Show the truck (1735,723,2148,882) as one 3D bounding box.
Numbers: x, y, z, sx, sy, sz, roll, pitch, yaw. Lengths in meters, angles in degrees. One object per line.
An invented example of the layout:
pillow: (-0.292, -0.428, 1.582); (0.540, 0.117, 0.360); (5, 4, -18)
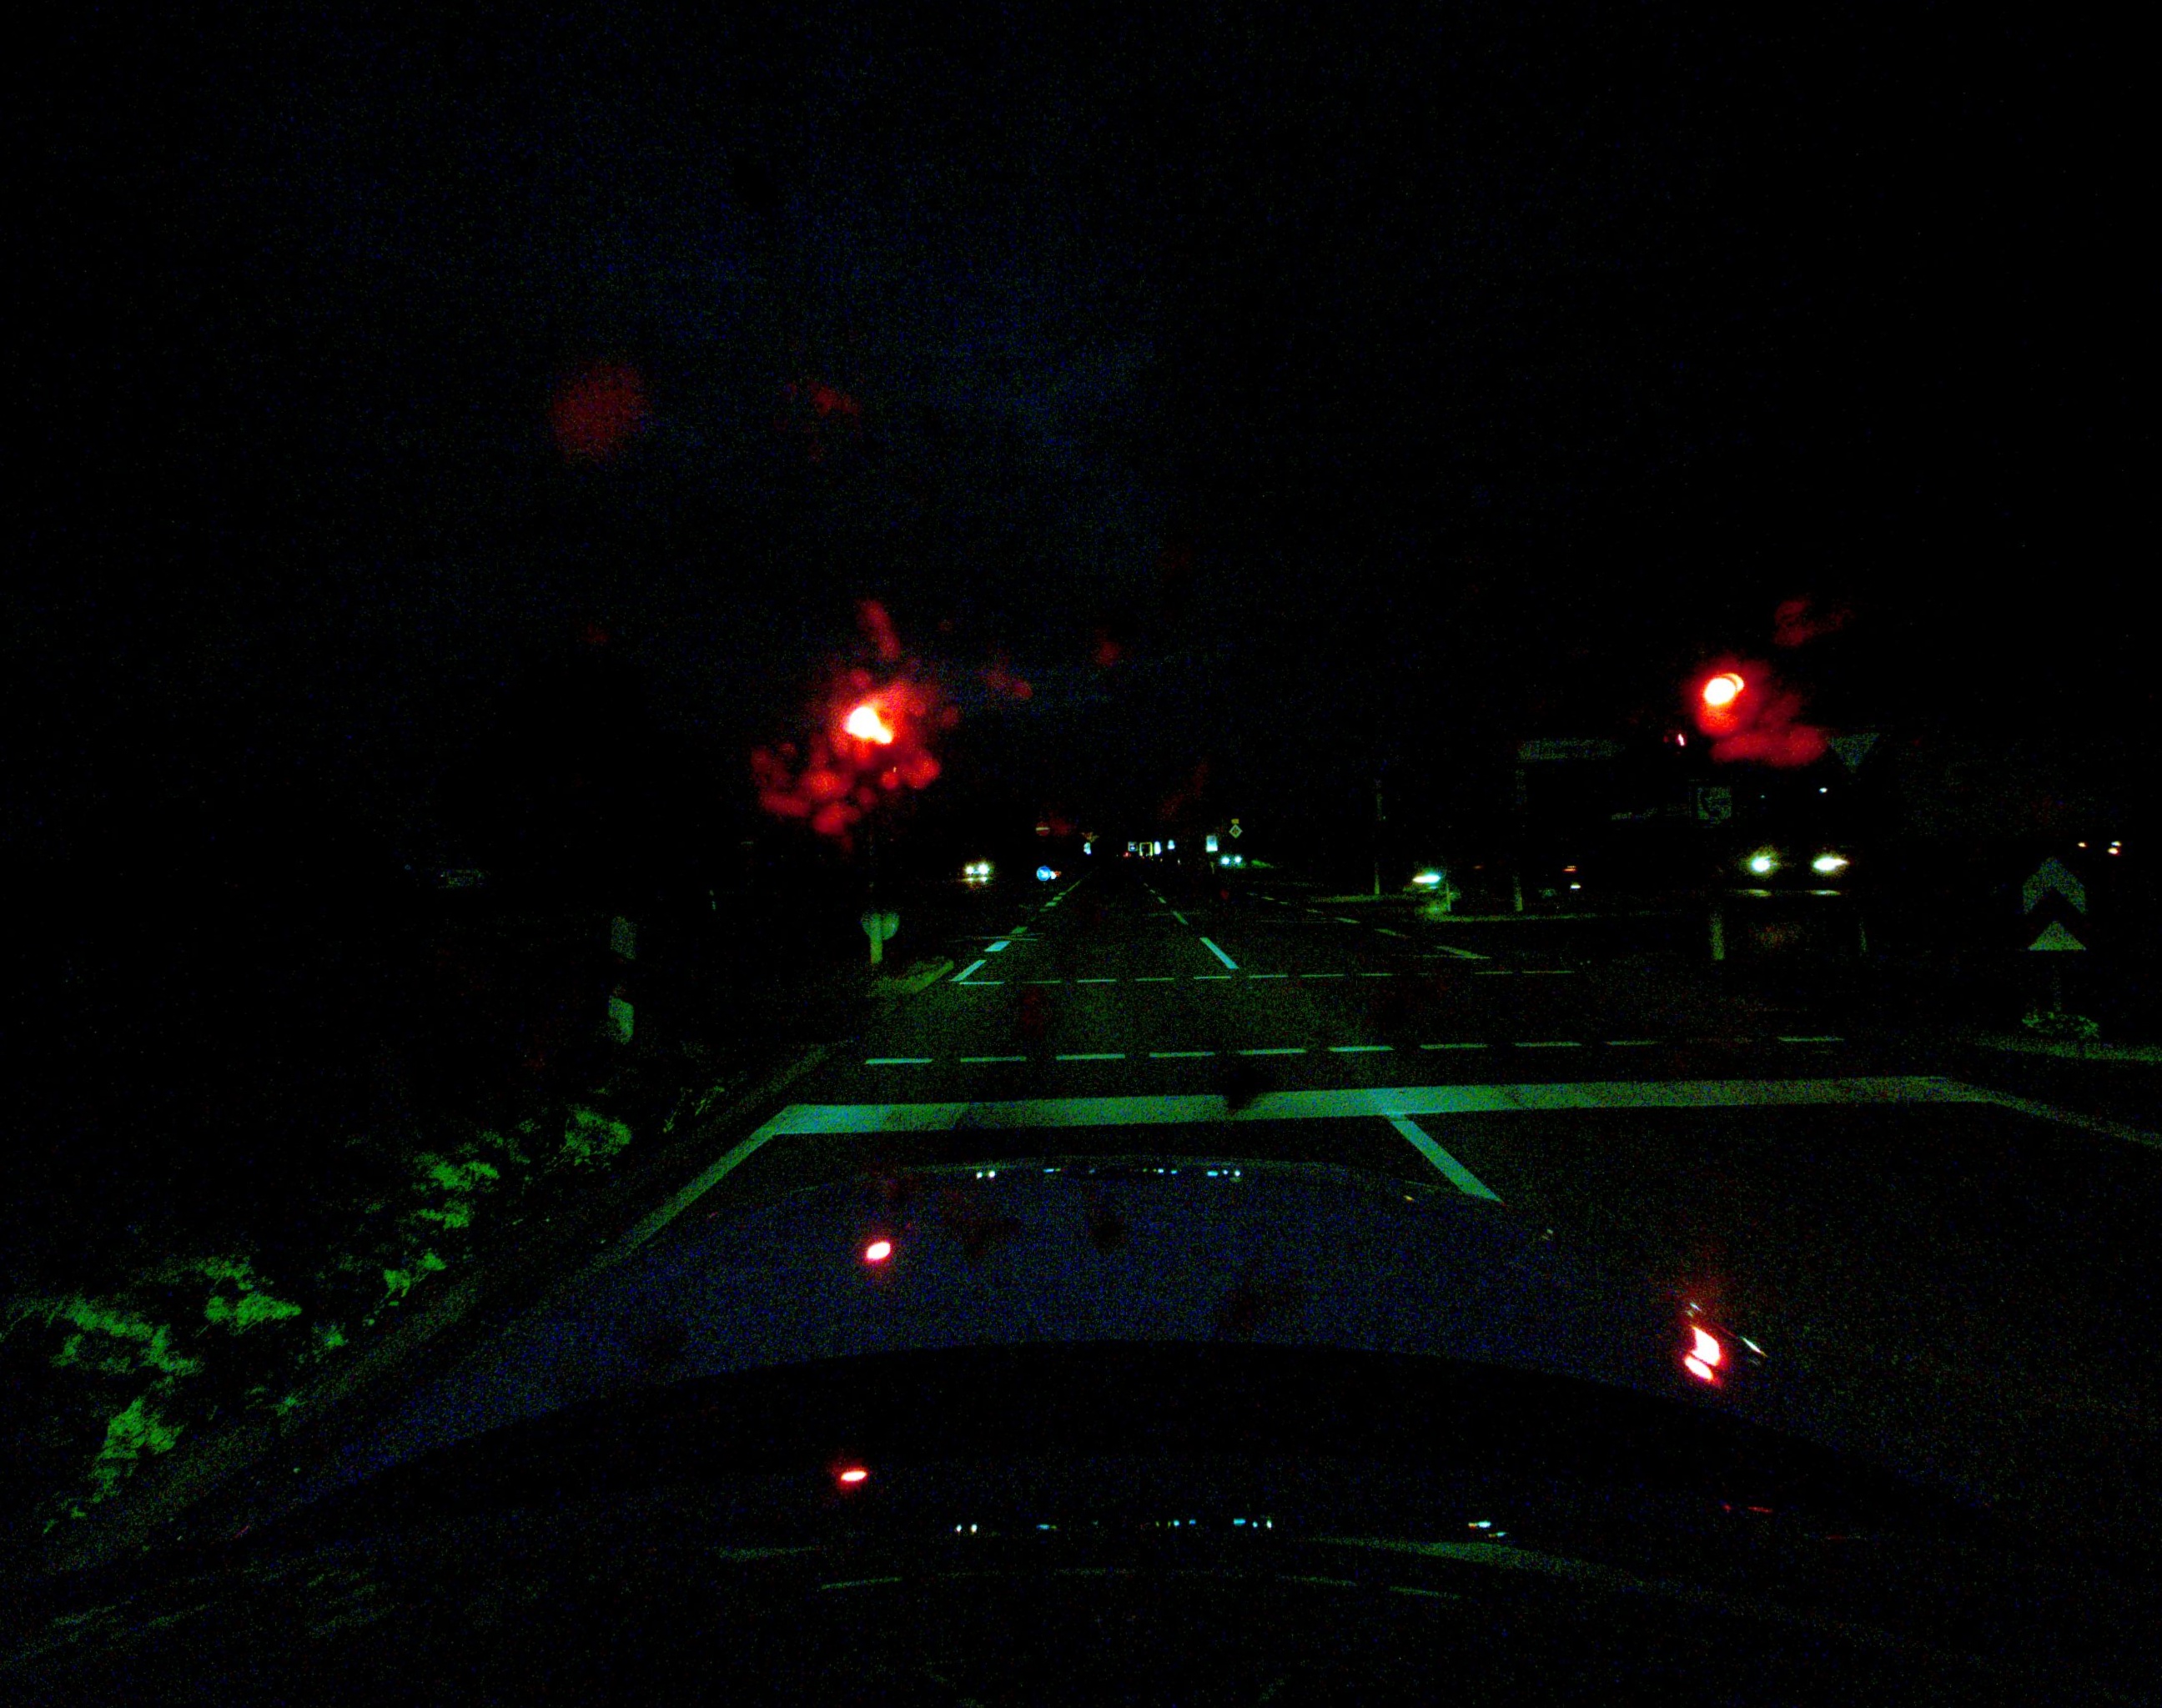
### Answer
truck: (25.250, -1.477, 24.096); (10.029, 3.979, 2.918); (-3, 0, -7)

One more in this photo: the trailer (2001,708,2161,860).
trailer: (34.428, -2.319, 25.406); (9.038, 4.301, 2.917); (-5, 0, -8)

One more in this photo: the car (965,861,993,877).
car: (-9.840, 1.450, 78.789); (1.986, 1.387, 4.002); (-2, 0, 2)

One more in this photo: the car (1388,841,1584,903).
car: (11.428, 0.491, 23.207); (4.587, 1.520, 1.999); (-2, 0, -1)
